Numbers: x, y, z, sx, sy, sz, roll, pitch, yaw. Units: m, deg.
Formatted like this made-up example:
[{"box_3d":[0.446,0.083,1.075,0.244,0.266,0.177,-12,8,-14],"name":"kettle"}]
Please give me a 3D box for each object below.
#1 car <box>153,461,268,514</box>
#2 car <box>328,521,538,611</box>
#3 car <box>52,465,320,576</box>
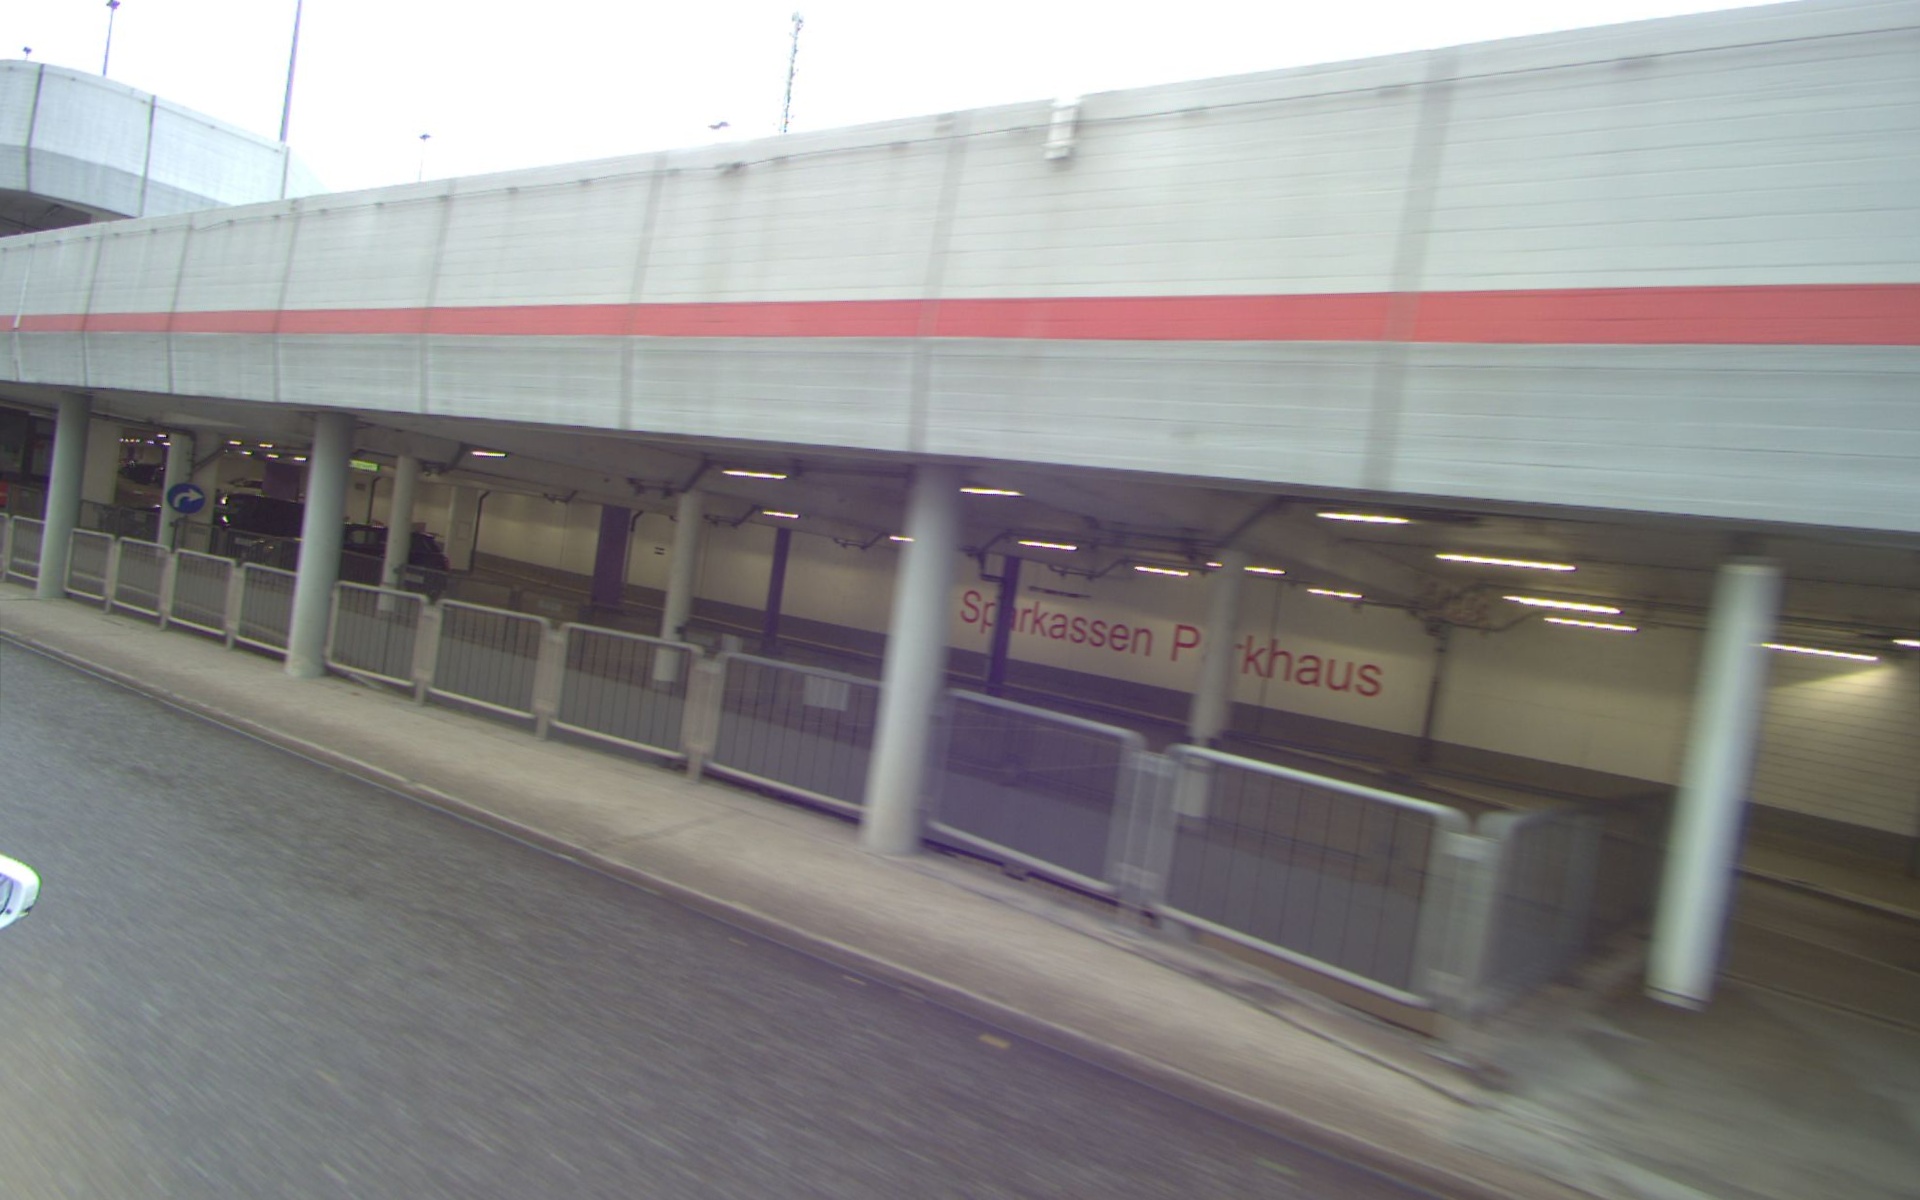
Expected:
[{"box_3d":[-35.677,-5.327,47.930,1.973,1.658,3.984,6,-3,42],"name":"car"},{"box_3d":[-11.801,-0.734,22.667,1.781,1.524,3.717,8,2,40],"name":"car"},{"box_3d":[-17.700,-1.741,23.175,1.798,1.658,4.569,6,-3,44],"name":"car"}]
